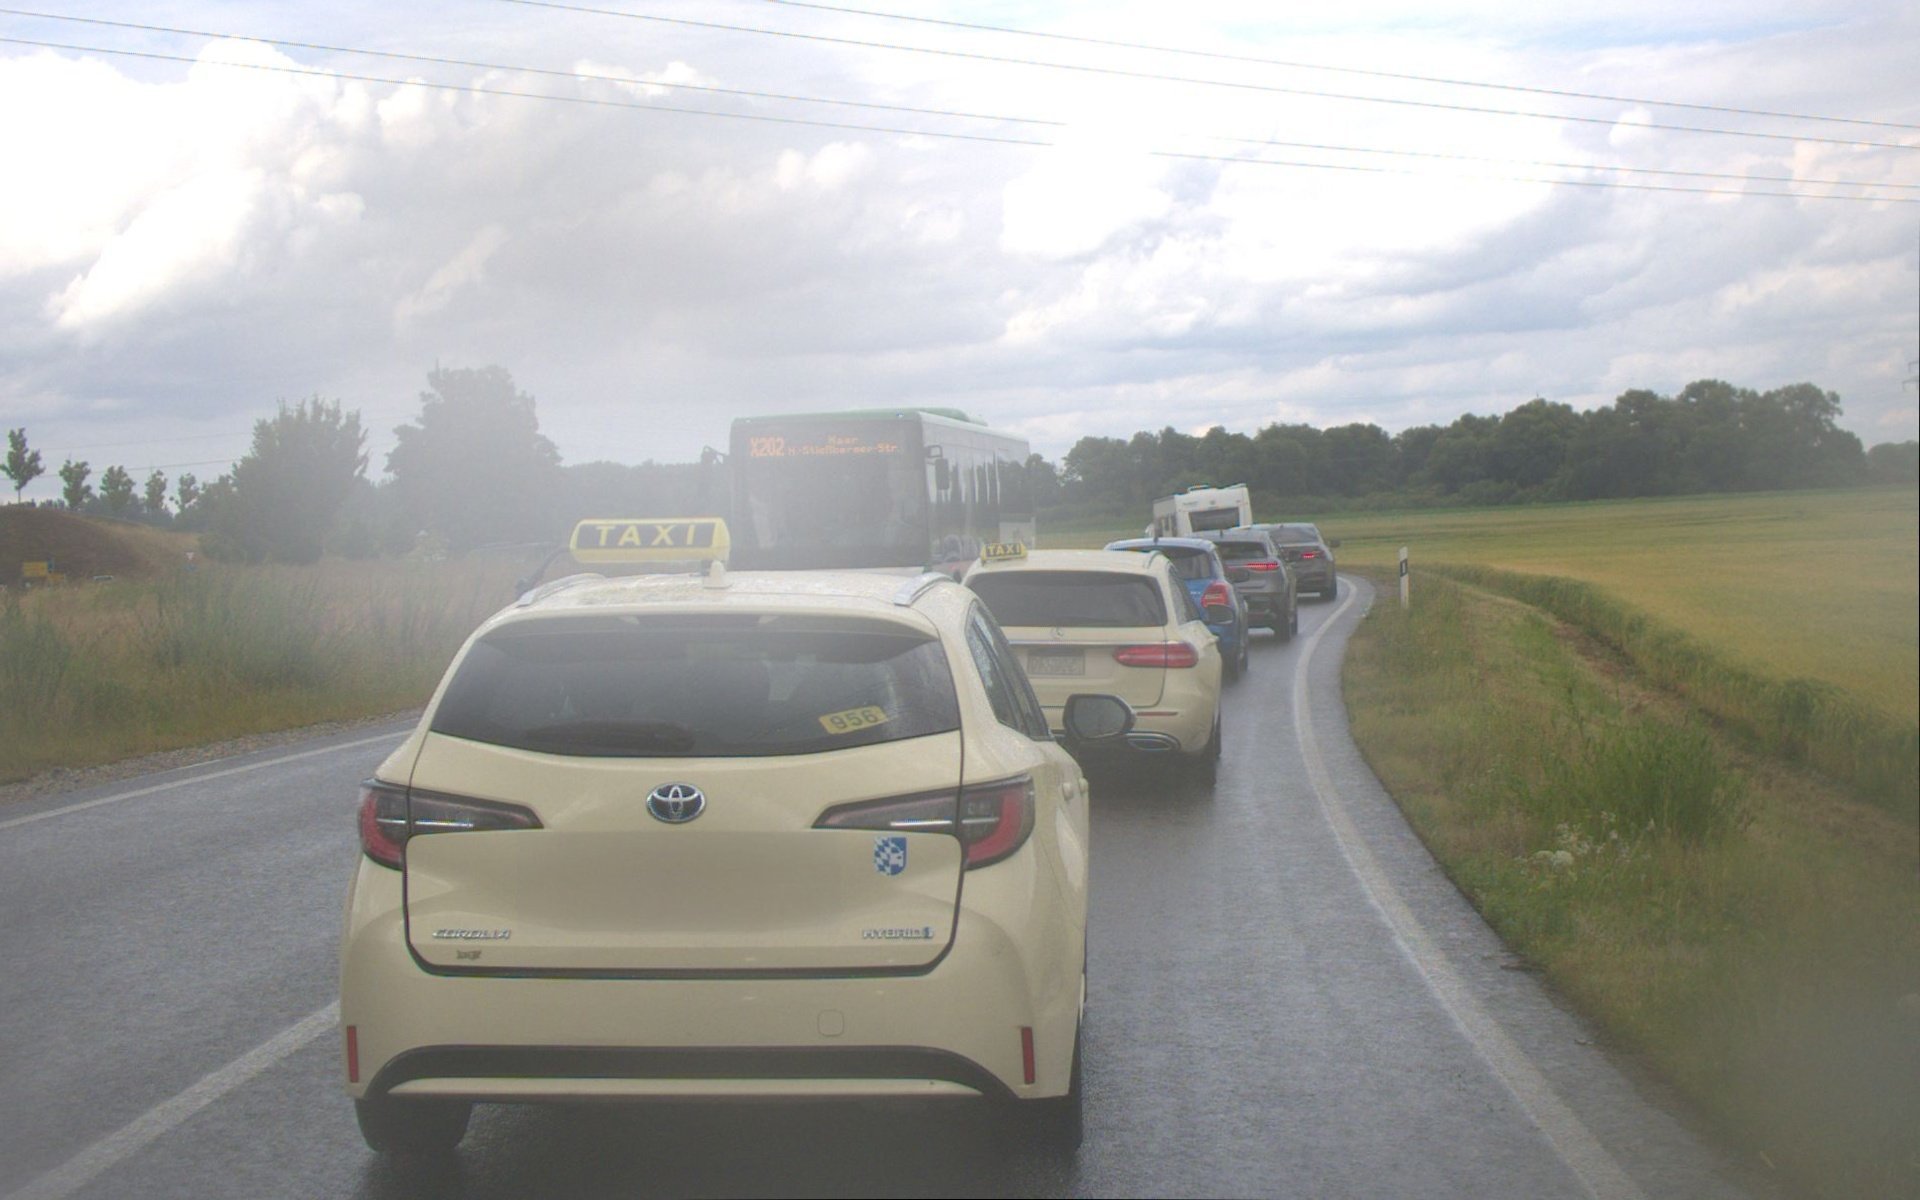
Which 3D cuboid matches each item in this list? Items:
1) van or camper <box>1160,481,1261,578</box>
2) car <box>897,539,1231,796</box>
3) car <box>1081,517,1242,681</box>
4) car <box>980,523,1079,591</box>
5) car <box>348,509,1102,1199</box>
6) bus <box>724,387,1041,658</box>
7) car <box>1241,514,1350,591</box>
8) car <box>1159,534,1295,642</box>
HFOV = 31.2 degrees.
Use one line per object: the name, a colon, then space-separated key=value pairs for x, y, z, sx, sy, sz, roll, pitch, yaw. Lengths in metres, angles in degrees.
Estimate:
van or camper: x=7.738 y=-2.183 z=106.846 sx=2.536 sy=2.886 sz=6.743 roll=0 pitch=1 yaw=-1
car: x=0.782 y=0.350 z=22.285 sx=1.841 sy=1.487 sz=4.607 roll=0 pitch=1 yaw=6
car: x=2.185 y=-0.007 z=36.543 sx=1.613 sy=1.653 sz=3.737 roll=0 pitch=0 yaw=5
car: x=1.370 y=-0.812 z=66.315 sx=1.719 sy=1.247 sz=3.999 roll=0 pitch=0 yaw=4
car: x=-0.445 y=0.588 z=9.220 sx=1.613 sy=1.557 sz=3.738 roll=0 pitch=0 yaw=2
bus: x=-0.804 y=-1.054 z=48.072 sx=2.759 sy=3.286 sz=12.499 roll=0 pitch=1 yaw=6
car: x=6.468 y=-0.886 z=65.967 sx=1.960 sy=1.408 sz=4.391 roll=0 pitch=0 yaw=7
car: x=3.675 y=-0.160 z=46.866 sx=1.613 sy=1.408 sz=3.737 roll=0 pitch=0 yaw=8
